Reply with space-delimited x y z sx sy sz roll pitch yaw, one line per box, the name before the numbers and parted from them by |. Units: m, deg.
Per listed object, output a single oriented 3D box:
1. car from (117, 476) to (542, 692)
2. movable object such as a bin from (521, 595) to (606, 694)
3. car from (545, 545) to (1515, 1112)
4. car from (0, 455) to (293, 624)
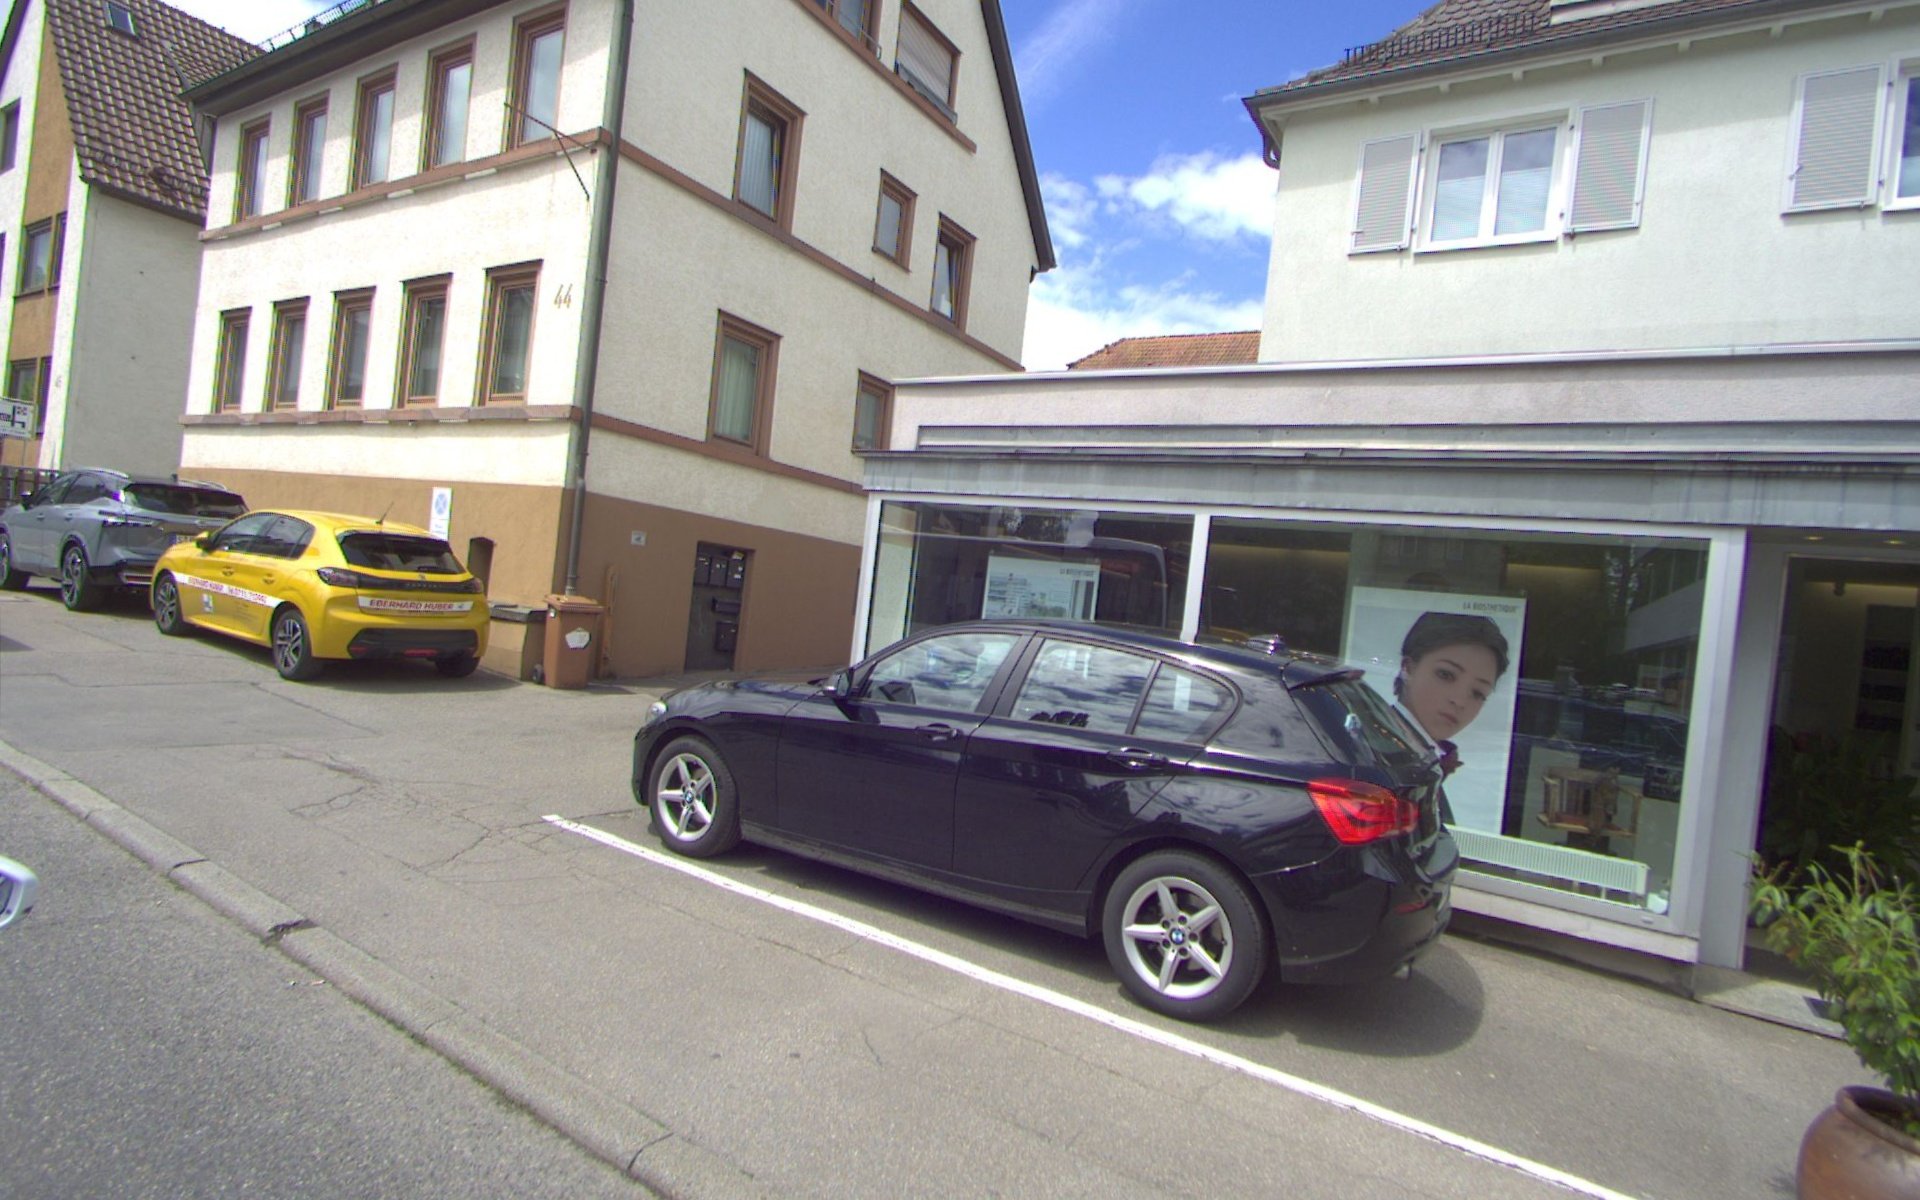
car | -6.460 -0.202 10.190 4.235 1.466 1.879 10 2 31
movable object such as a bin | -4.077 0.459 10.344 0.589 0.936 0.501 7 1 37
car | 0.198 0.720 5.171 4.460 1.466 1.970 7 0 31
car | -10.482 -0.804 12.579 4.511 1.633 1.861 7 1 33
